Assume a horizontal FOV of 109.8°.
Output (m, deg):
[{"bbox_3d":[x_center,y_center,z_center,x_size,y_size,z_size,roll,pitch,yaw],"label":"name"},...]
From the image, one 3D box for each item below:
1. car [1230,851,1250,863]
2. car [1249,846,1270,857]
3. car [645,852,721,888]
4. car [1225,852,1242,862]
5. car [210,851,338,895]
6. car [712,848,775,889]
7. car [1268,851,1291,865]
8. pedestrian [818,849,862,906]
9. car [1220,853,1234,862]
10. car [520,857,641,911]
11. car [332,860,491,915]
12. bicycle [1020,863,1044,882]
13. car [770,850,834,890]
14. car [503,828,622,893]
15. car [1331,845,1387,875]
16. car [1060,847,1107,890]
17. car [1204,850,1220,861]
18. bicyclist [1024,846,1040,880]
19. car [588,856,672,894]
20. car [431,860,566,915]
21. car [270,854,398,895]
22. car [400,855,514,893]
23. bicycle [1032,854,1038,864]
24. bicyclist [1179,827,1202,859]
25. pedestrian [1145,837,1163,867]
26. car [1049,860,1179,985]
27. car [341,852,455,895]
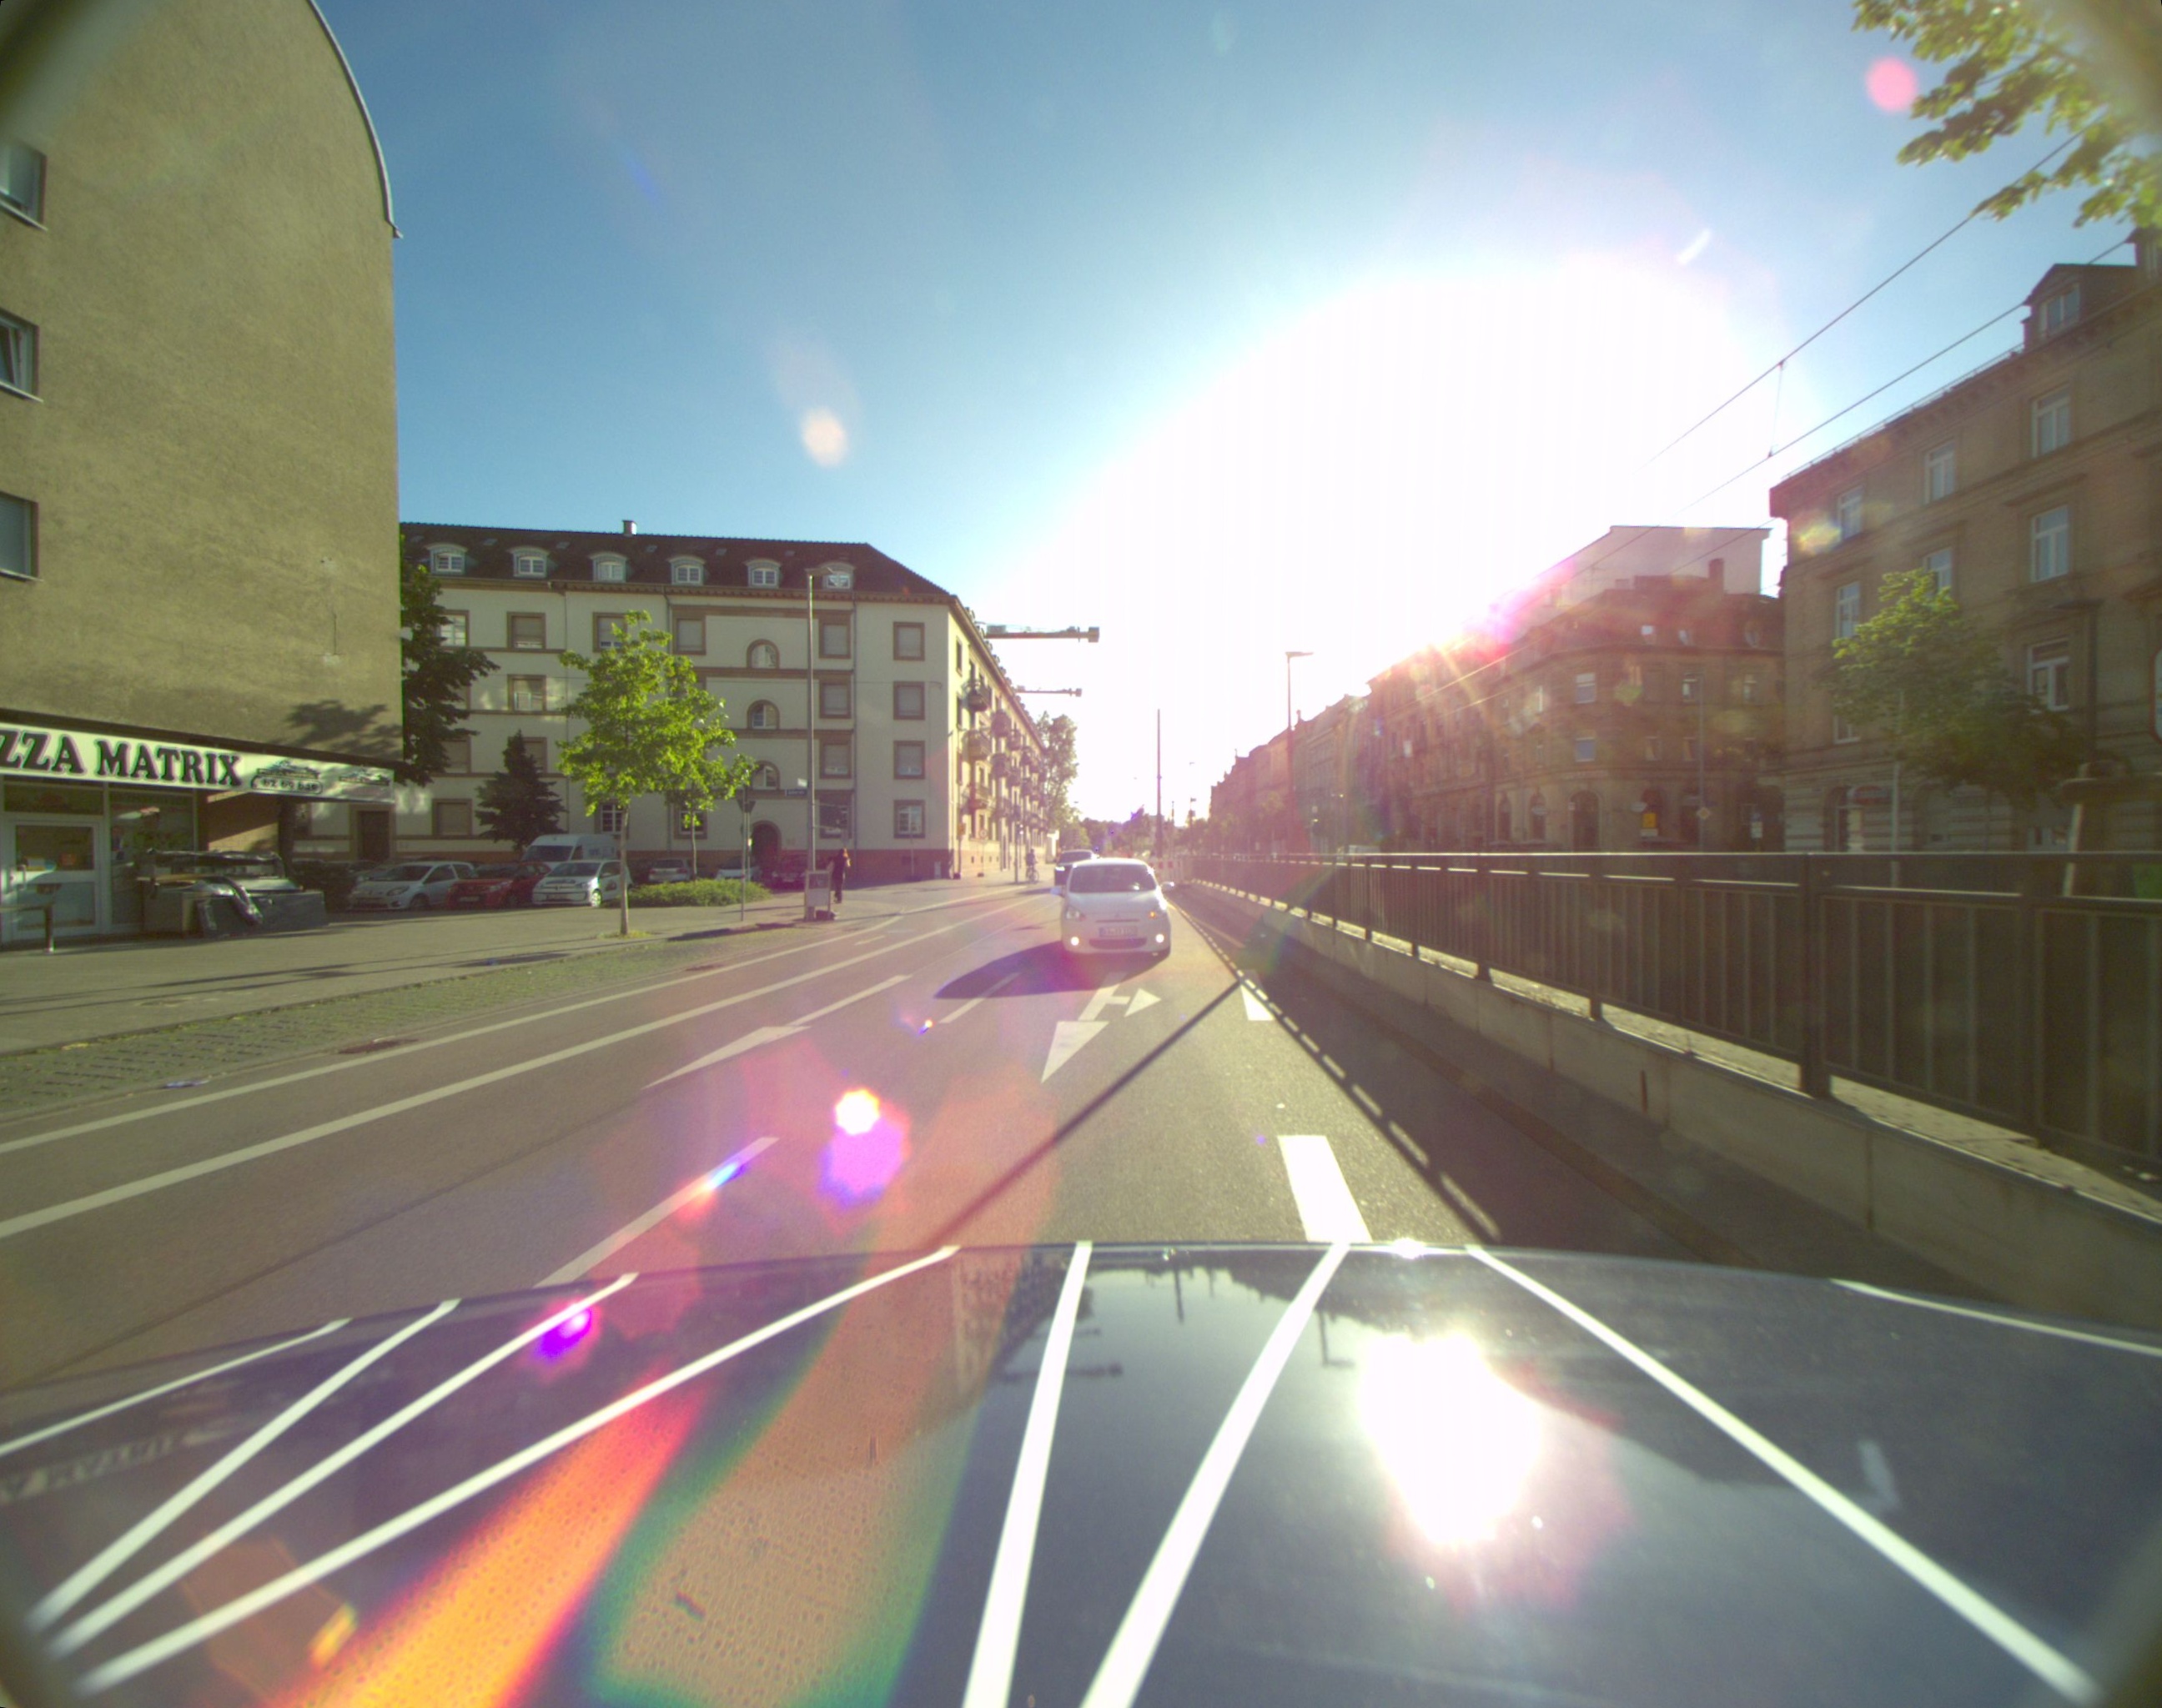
[{"bbox_3d":[24.716,0.453,118.230,1.998,1.688,4.888,-2,0,1],"label":"car"},{"bbox_3d":[25.278,-0.360,107.561,1.998,1.429,4.308,-1,0,1],"label":"car"},{"bbox_3d":[-18.242,0.700,35.075,1.698,1.421,4.435,-2,1,-9],"label":"car"},{"bbox_3d":[24.982,0.546,124.502,1.998,1.529,4.985,-2,0,2],"label":"car"},{"bbox_3d":[-34.744,0.782,32.888,1.696,1.717,3.996,-2,0,-10],"label":"car"},{"bbox_3d":[-15.746,0.624,35.676,1.629,1.677,4.434,-1,2,-10],"label":"car"},{"bbox_3d":[25.001,0.496,95.752,1.942,1.648,4.545,-2,0,3],"label":"car"},{"bbox_3d":[-7.661,0.720,24.155,0.885,1.753,1.106,2,2,11],"label":"pedestrian"},{"bbox_3d":[25.213,0.525,131.185,1.752,1.470,4.028,-2,0,2],"label":"car"},{"bbox_3d":[-15.414,0.865,23.645,1.668,1.466,3.833,-2,0,-10],"label":"car"},{"bbox_3d":[-20.057,0.940,22.980,1.637,1.446,3.733,-2,0,-5],"label":"car"},{"bbox_3d":[-2.545,0.936,39.455,0.770,0.947,2.195,0,0,-16],"label":"bicycle"},{"bbox_3d":[-13.044,0.707,35.770,1.697,1.676,4.437,-2,0,-6],"label":"car"},{"bbox_3d":[-22.869,0.171,33.880,1.929,2.595,5.955,0,3,-9],"label":"car"},{"bbox_3d":[18.591,0.395,51.024,1.999,1.869,4.583,-2,0,-1],"label":"car"},{"bbox_3d":[0.132,0.588,33.692,1.899,1.730,4.000,-2,0,1],"label":"car"},{"bbox_3d":[19.691,0.227,114.497,1.800,1.630,4.477,0,0,2],"label":"car"},{"bbox_3d":[-2.560,0.455,39.510,0.734,1.753,0.938,0,1,1],"label":"bicyclist"},{"bbox_3d":[-20.750,0.906,35.165,1.698,1.470,4.436,-2,1,-8],"label":"car"},{"bbox_3d":[-17.660,0.958,23.260,1.637,1.444,3.653,-2,0,-8],"label":"car"},{"bbox_3d":[-32.012,0.840,32.729,1.695,1.606,3.998,-2,0,-4],"label":"car"},{"bbox_3d":[-27.130,0.811,33.226,1.694,1.482,3.999,-2,0,-1],"label":"car"},{"bbox_3d":[-5.093,0.538,83.665,0.419,1.089,2.198,0,0,2],"label":"bicycle"},{"bbox_3d":[5.998,-0.592,41.701,0.886,1.763,0.854,-1,1,-24],"label":"bicyclist"},{"bbox_3d":[3.631,-0.110,37.869,0.791,1.449,0.946,0,1,0],"label":"pedestrian"},{"bbox_3d":[0.499,0.902,11.953,1.634,1.499,4.350,-2,1,2],"label":"car"},{"bbox_3d":[-29.602,0.802,33.116,1.543,1.729,3.998,-2,0,-5],"label":"car"}]
